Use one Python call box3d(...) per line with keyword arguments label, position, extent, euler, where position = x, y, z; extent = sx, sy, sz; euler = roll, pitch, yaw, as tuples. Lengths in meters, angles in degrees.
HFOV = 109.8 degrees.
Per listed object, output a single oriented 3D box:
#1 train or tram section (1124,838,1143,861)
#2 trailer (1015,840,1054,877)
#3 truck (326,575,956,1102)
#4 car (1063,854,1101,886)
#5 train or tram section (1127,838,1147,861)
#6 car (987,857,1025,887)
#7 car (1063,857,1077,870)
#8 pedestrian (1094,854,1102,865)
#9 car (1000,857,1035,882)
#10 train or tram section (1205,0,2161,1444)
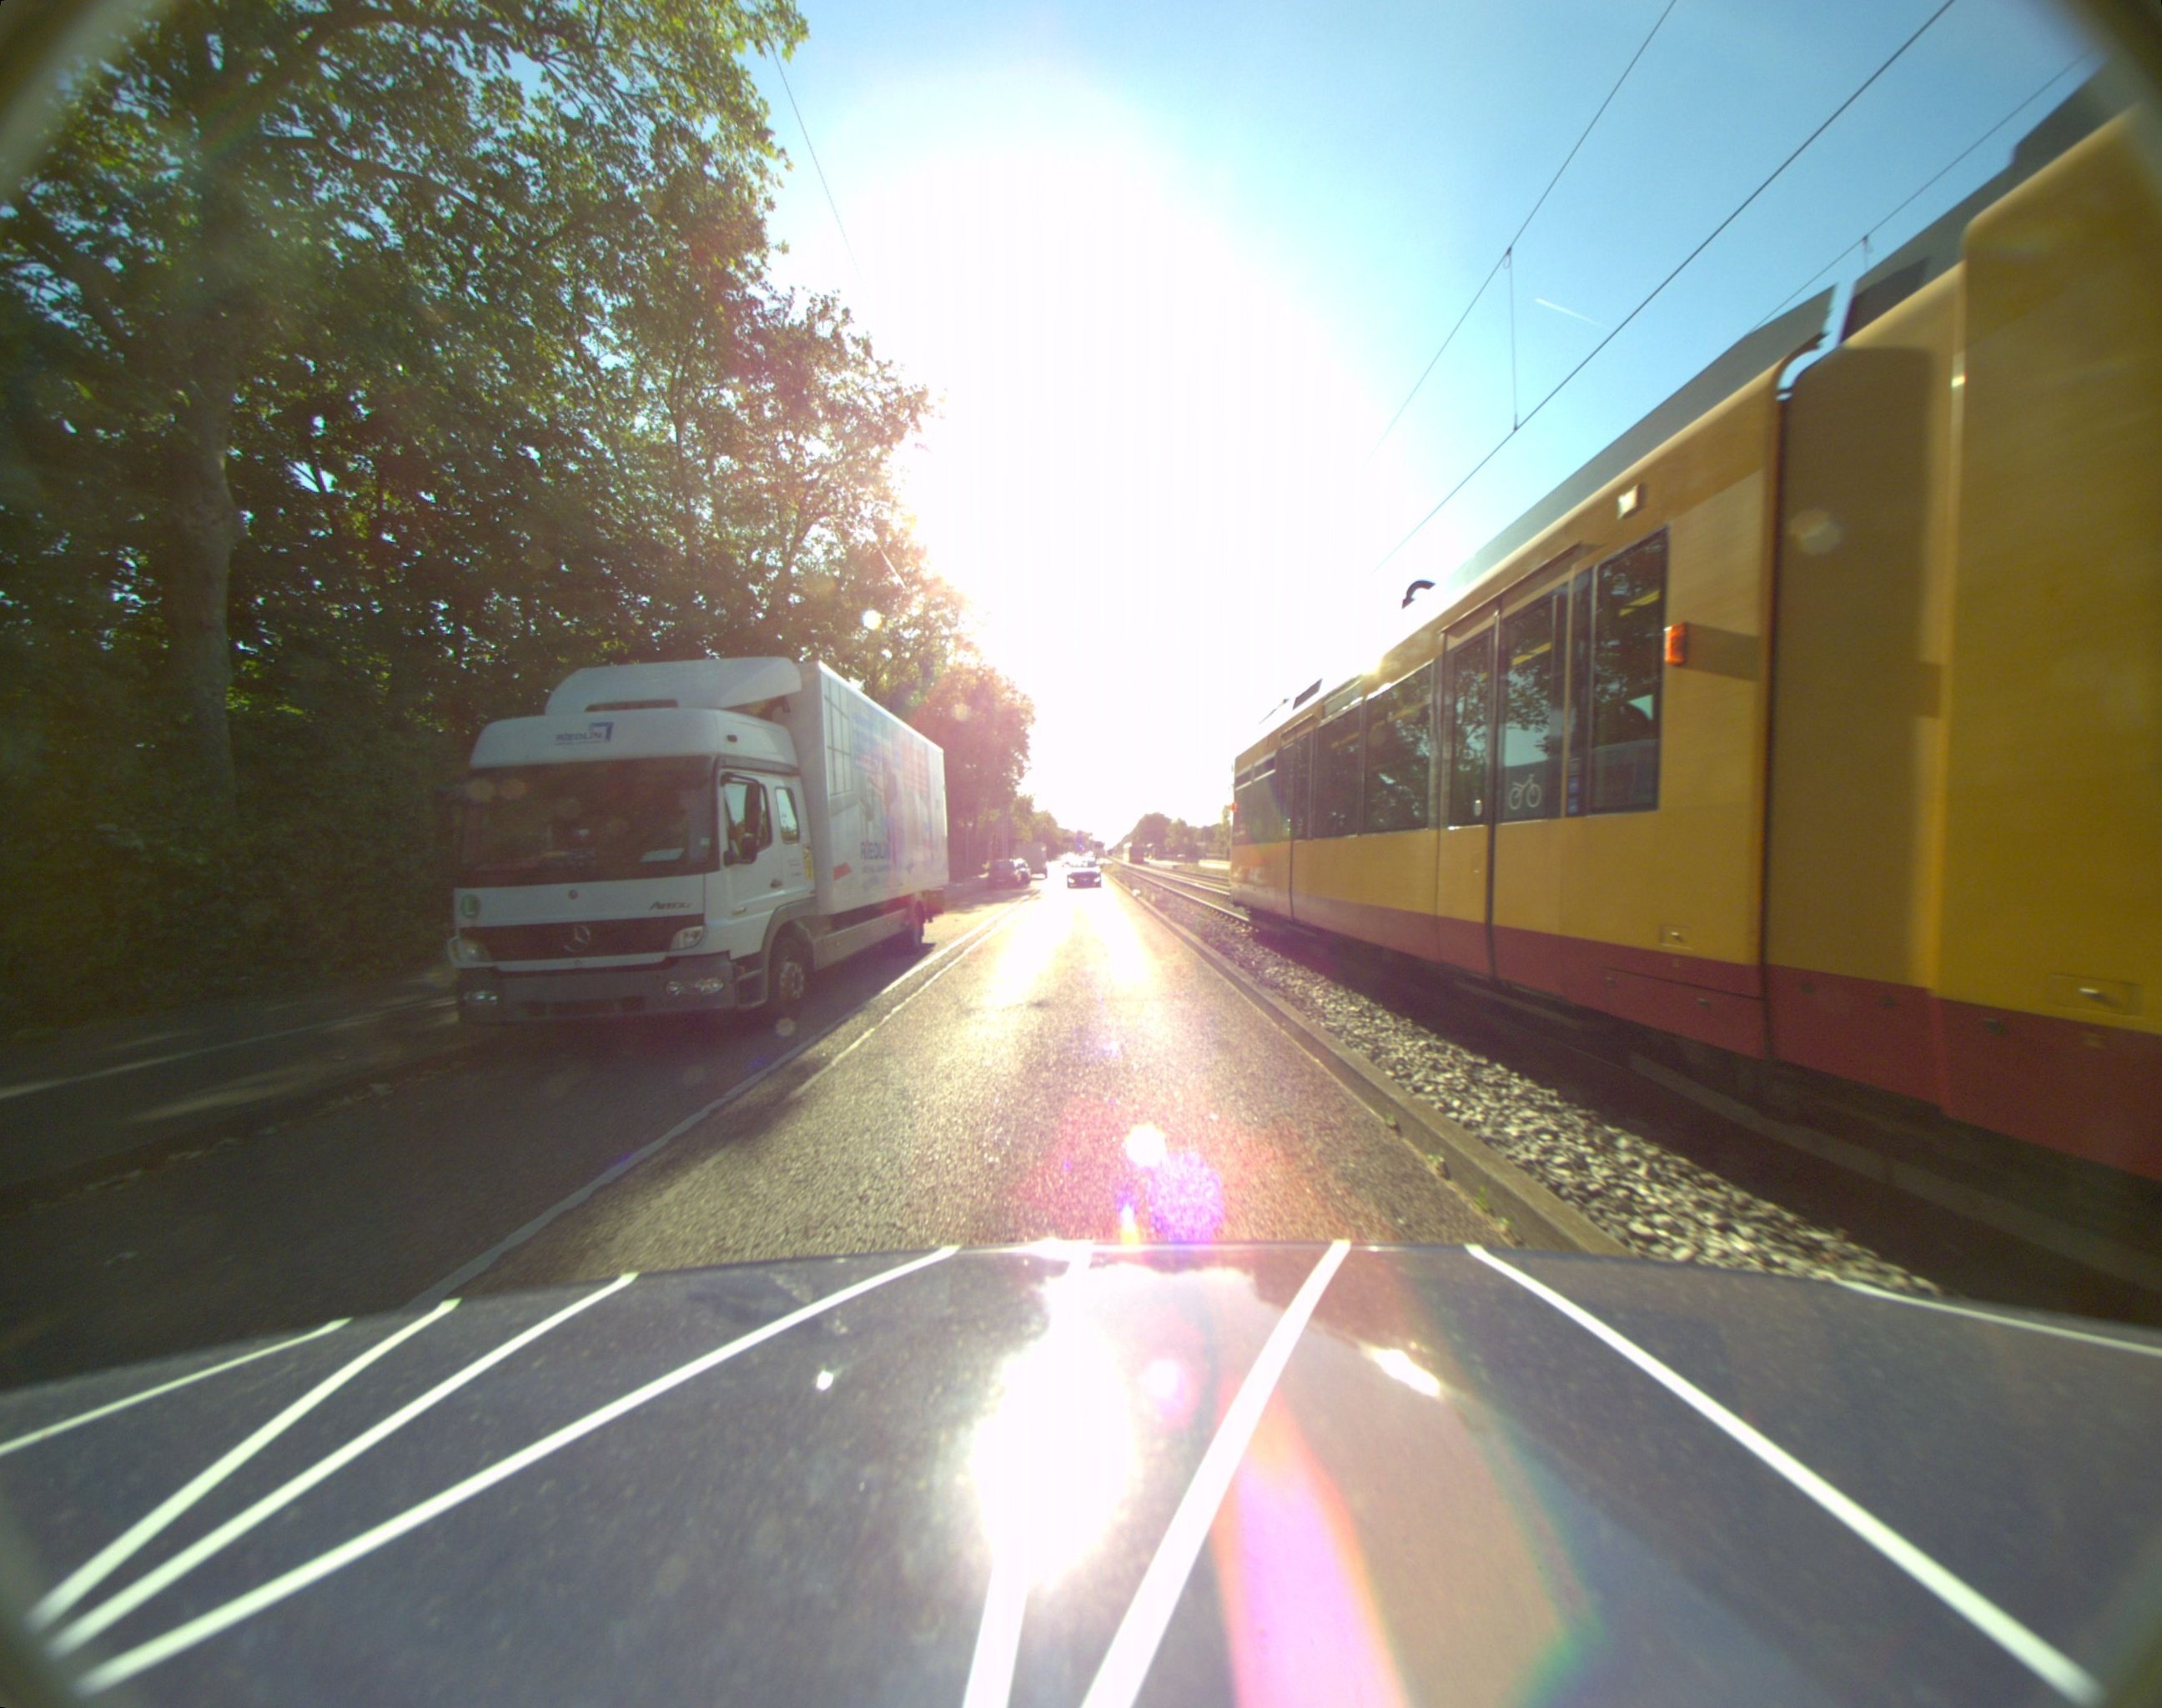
box3d(label="train or tram section", position=(9.861, -0.852, 144.921), extent=(2.834, 3.982, 15.875), euler=(-2, 0, 2))
box3d(label="trailer", position=(-3.584, 0.340, 59.418), extent=(2.256, 2.679, 5.948), euler=(-1, 0, 4))
box3d(label="truck", position=(-4.046, -0.112, 10.618), extent=(2.749, 3.761, 10.088), euler=(-2, 0, 0))
box3d(label="car", position=(0.106, 0.773, 39.424), extent=(1.786, 1.530, 4.000), euler=(-1, 0, 2))
box3d(label="train or tram section", position=(9.500, -0.776, 130.589), extent=(2.834, 3.665, 12.968), euler=(-2, 0, 2))
box3d(label="car", position=(-4.106, 0.964, 42.122), extent=(1.644, 1.528, 3.640), euler=(-3, 0, 1))
box3d(label="car", position=(-1.412, 1.226, 100.019), extent=(1.784, 1.586, 4.000), euler=(-1, 0, 1))
box3d(label="pedestrian", position=(2.445, 0.787, 108.359), extent=(0.760, 1.484, 0.696), euler=(-1, 1, 34))
box3d(label="car", position=(-3.889, 0.927, 47.227), extent=(1.813, 1.448, 4.165), euler=(-2, 0, -1))
box3d(label="train or tram section", position=(3.944, -0.425, 8.856), extent=(2.728, 4.067, 13.614), euler=(0, 0, 0))
